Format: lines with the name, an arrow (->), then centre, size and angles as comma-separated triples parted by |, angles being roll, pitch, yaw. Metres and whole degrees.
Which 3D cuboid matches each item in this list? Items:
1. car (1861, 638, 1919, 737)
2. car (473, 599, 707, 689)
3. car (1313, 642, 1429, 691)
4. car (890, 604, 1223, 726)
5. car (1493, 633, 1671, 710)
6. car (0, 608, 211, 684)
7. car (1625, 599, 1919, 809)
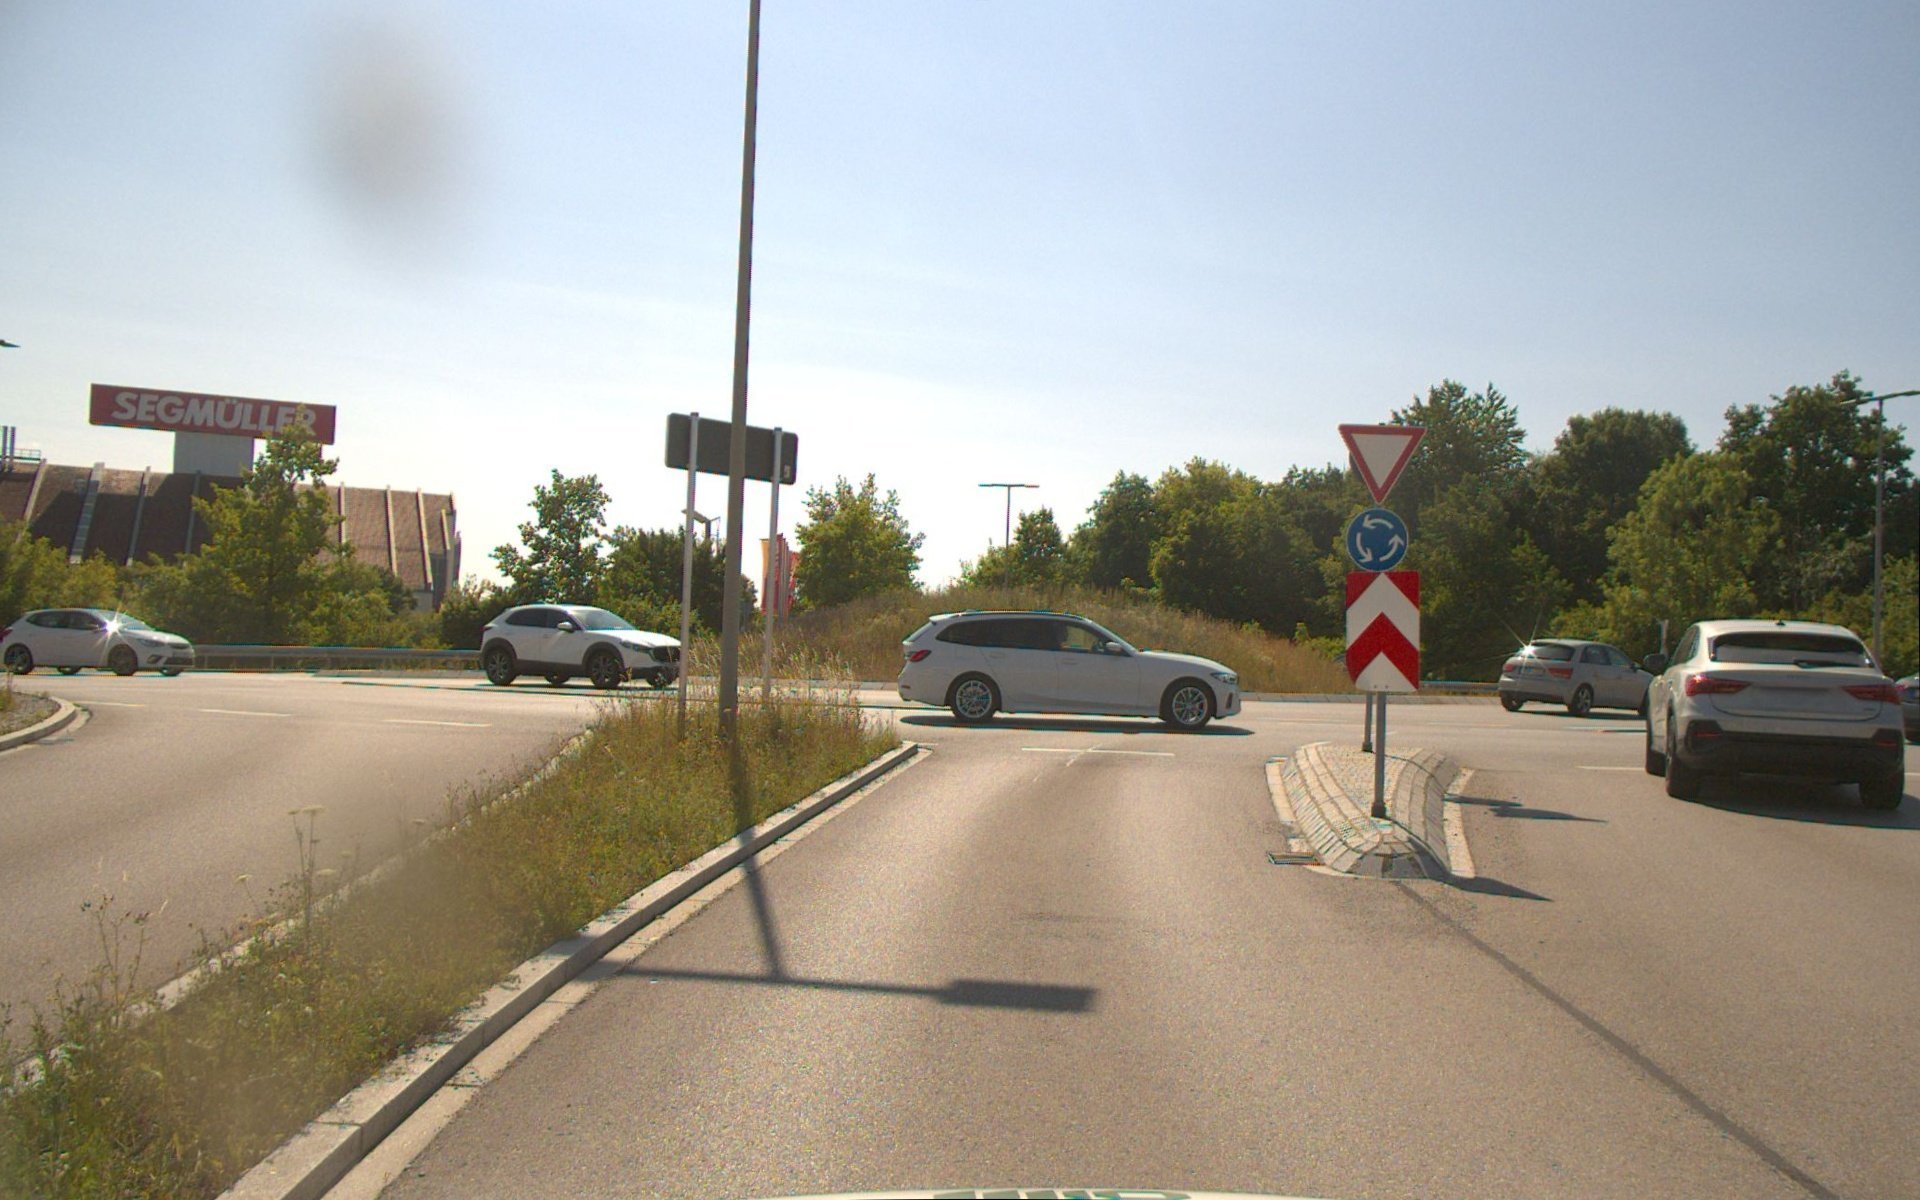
car -> 16.702, 1.461, 26.569 | 4.816, 1.478, 1.976 | 3, -1, -35
car -> -7.069, 0.811, 31.525 | 4.193, 1.557, 1.788 | 1, -2, 29
car -> 13.485, 2.173, 54.496 | 1.602, 1.430, 3.783 | 3, -1, -27
car -> 1.302, 0.853, 22.121 | 4.236, 1.375, 1.574 | 2, -1, 5
car -> 12.211, 1.413, 32.386 | 3.729, 1.375, 1.511 | 3, -1, -38
car -> -18.865, 0.984, 35.935 | 4.309, 1.429, 1.792 | 2, -1, 5
car -> 7.437, 0.877, 15.411 | 1.802, 1.624, 4.327 | 1, -1, 15
